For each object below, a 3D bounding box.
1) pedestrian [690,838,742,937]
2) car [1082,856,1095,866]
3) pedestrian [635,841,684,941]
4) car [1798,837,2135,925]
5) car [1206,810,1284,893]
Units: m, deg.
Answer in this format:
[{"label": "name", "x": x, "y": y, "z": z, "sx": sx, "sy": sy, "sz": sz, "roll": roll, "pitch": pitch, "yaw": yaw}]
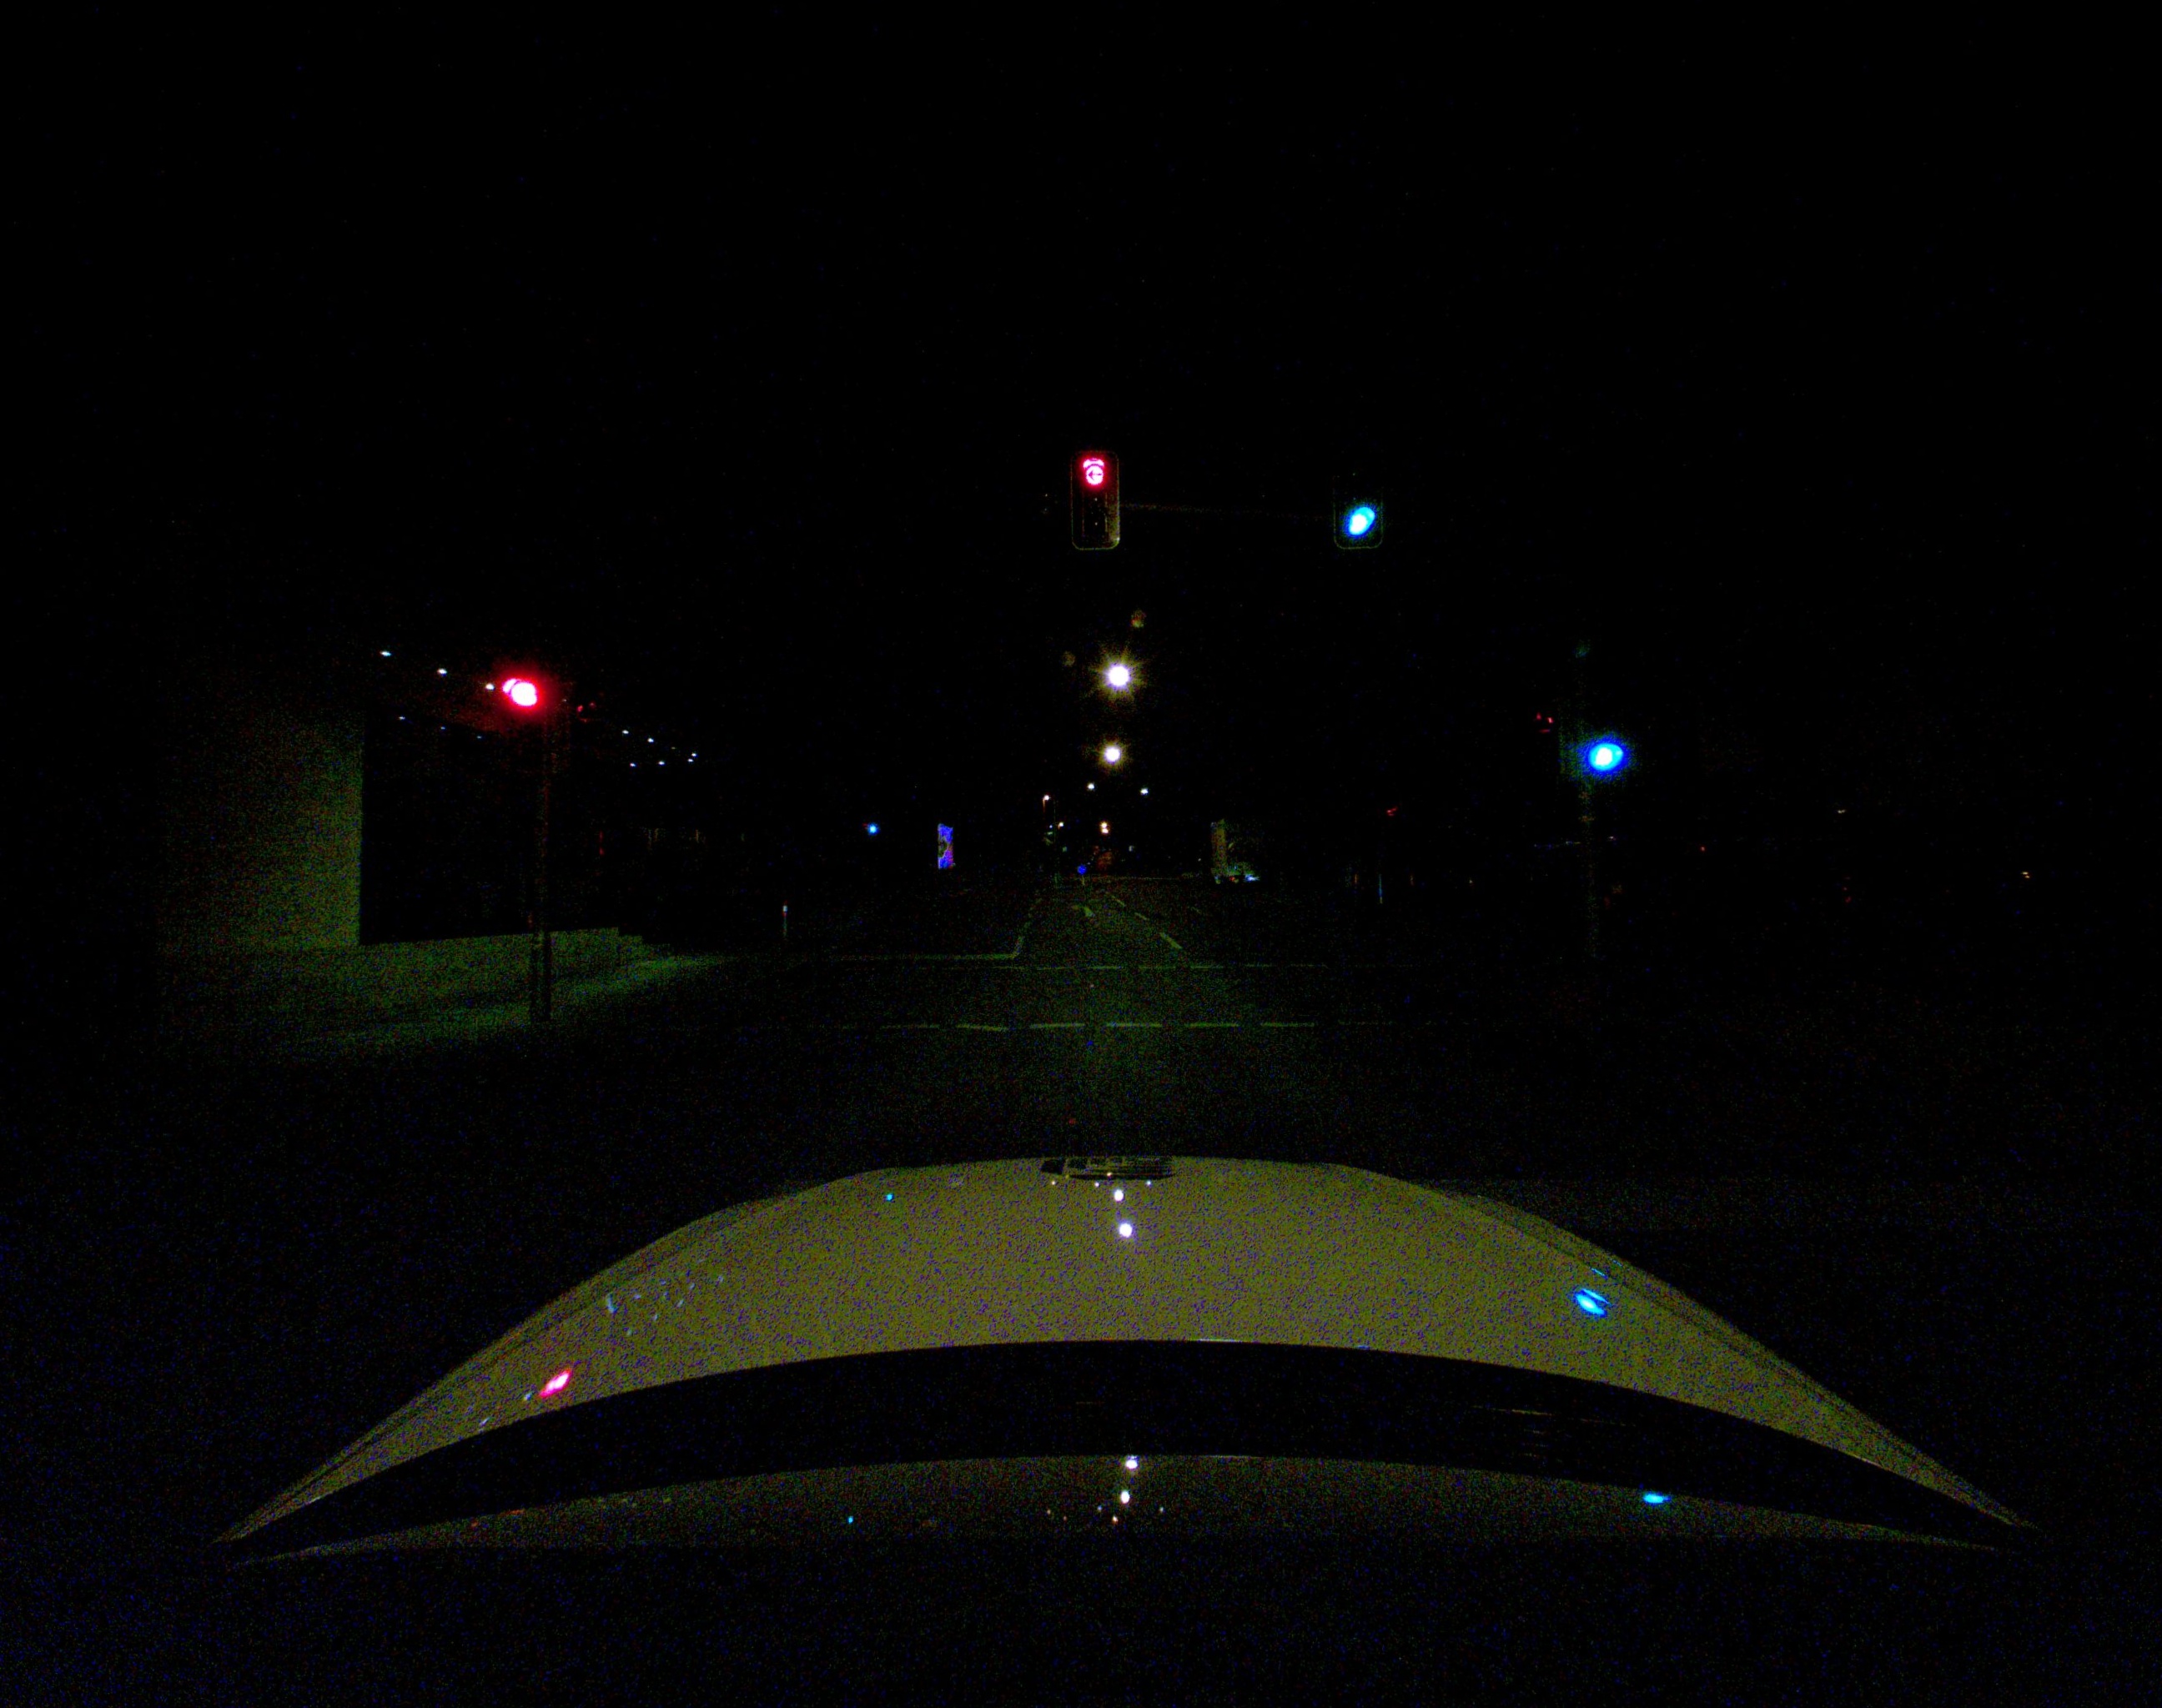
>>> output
[{"label": "pedestrian", "x": -6.796, "y": 0.615, "z": 15.188, "sx": 0.568, "sy": 1.778, "sz": 0.737, "roll": 1, "pitch": -1, "yaw": 1}, {"label": "car", "x": 1.256, "y": 1.177, "z": 134.581, "sx": 1.901, "sy": 1.557, "sz": 3.906, "roll": 0, "pitch": -1, "yaw": 2}, {"label": "pedestrian", "x": -7.435, "y": 0.651, "z": 14.391, "sx": 0.568, "sy": 1.731, "sz": 0.544, "roll": 0, "pitch": -1, "yaw": 1}, {"label": "car", "x": 17.456, "y": 0.564, "z": 16.292, "sx": 4.342, "sy": 1.560, "sz": 1.807, "roll": -2, "pitch": -3, "yaw": 8}, {"label": "car", "x": 6.765, "y": -0.087, "z": 34.263, "sx": 2.287, "sy": 3.093, "sz": 5.845, "roll": -2, "pitch": -1, "yaw": 3}]
